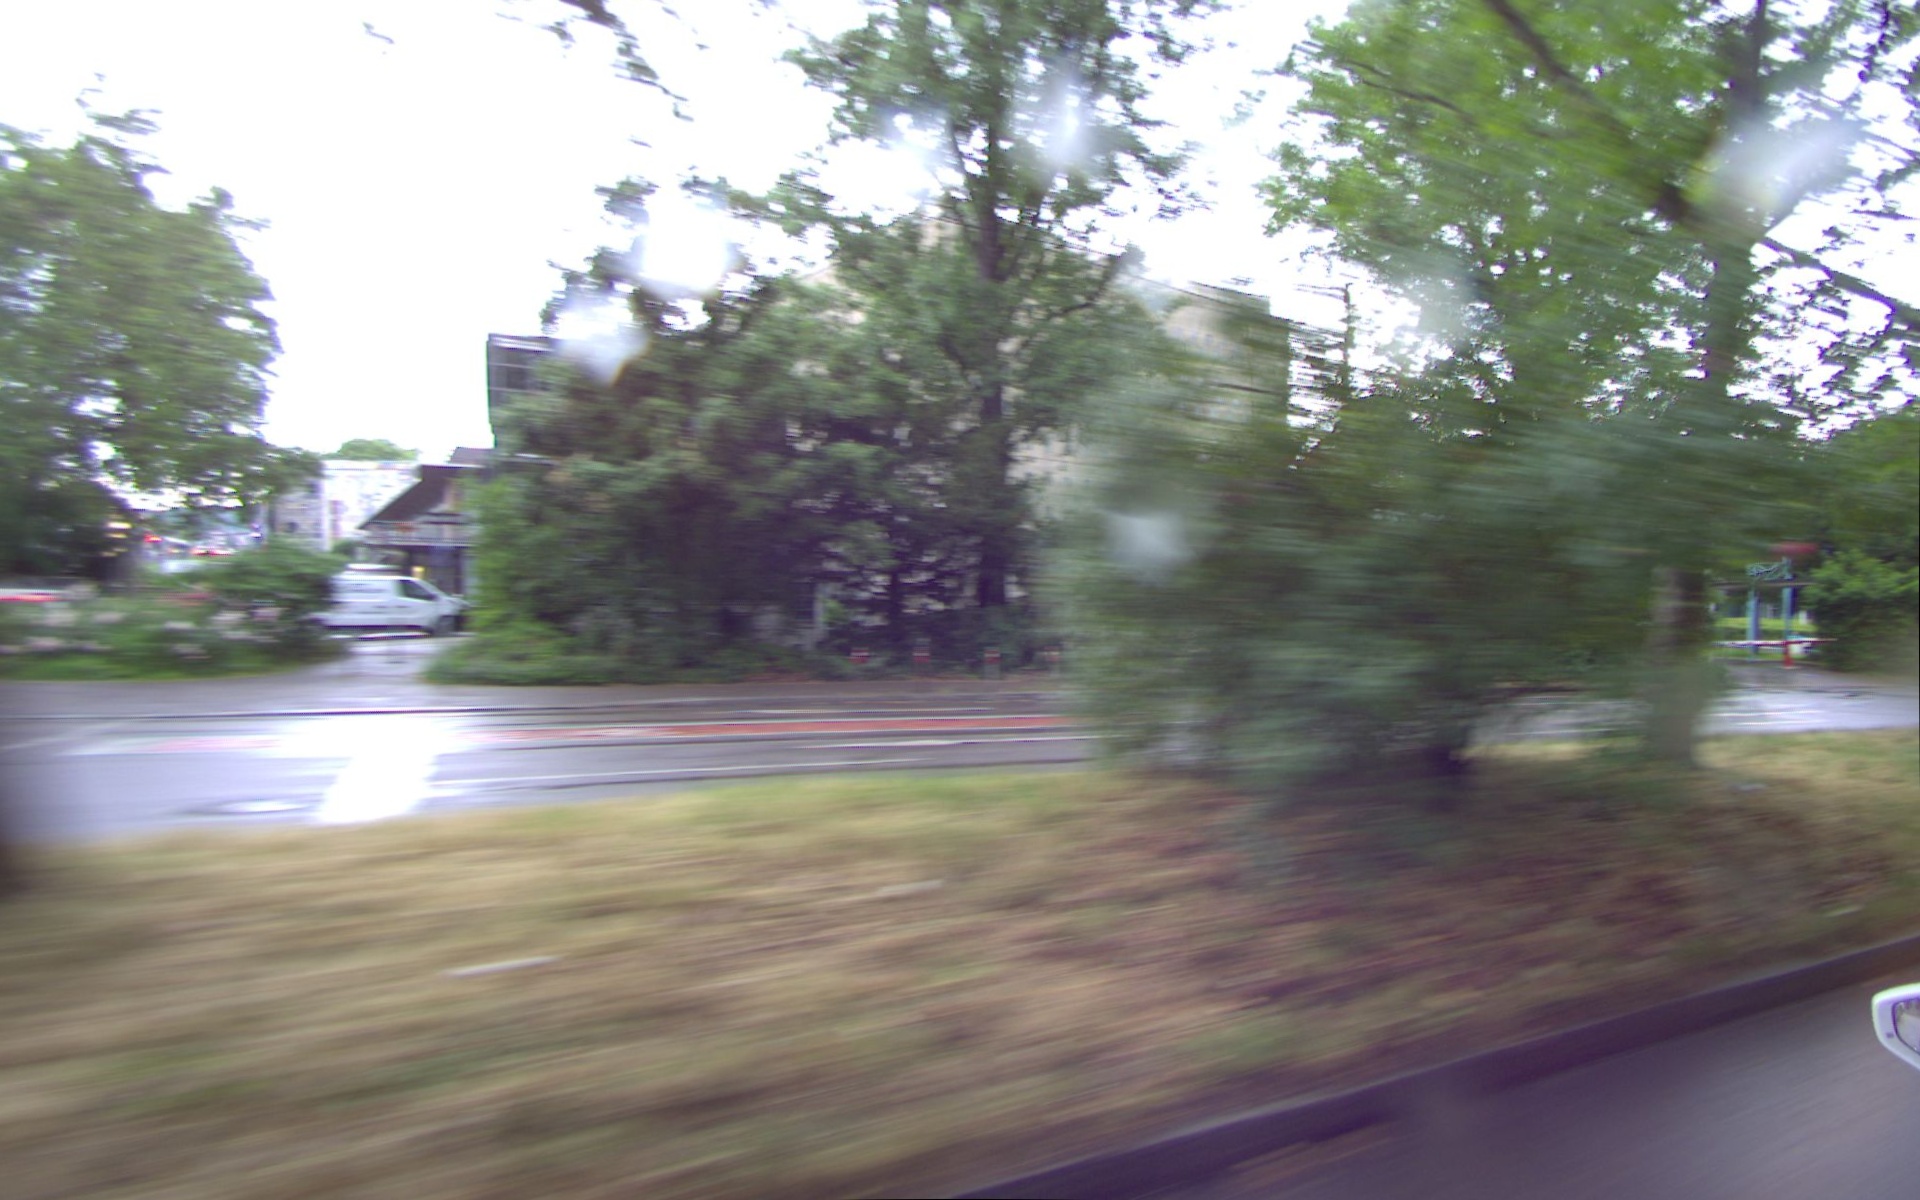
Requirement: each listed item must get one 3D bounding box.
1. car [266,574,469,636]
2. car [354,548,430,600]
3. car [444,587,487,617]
[{"bbox_3d":[-18.195,0.126,31.028,5.177,1.754,1.851,0,1,-42],"label":"car"},{"bbox_3d":[-32.290,-1.462,57.318,2.700,2.731,6.888,1,1,-21],"label":"car"},{"bbox_3d":[-27.714,0.103,56.248,2.001,1.572,4.316,0,1,-29],"label":"car"}]
